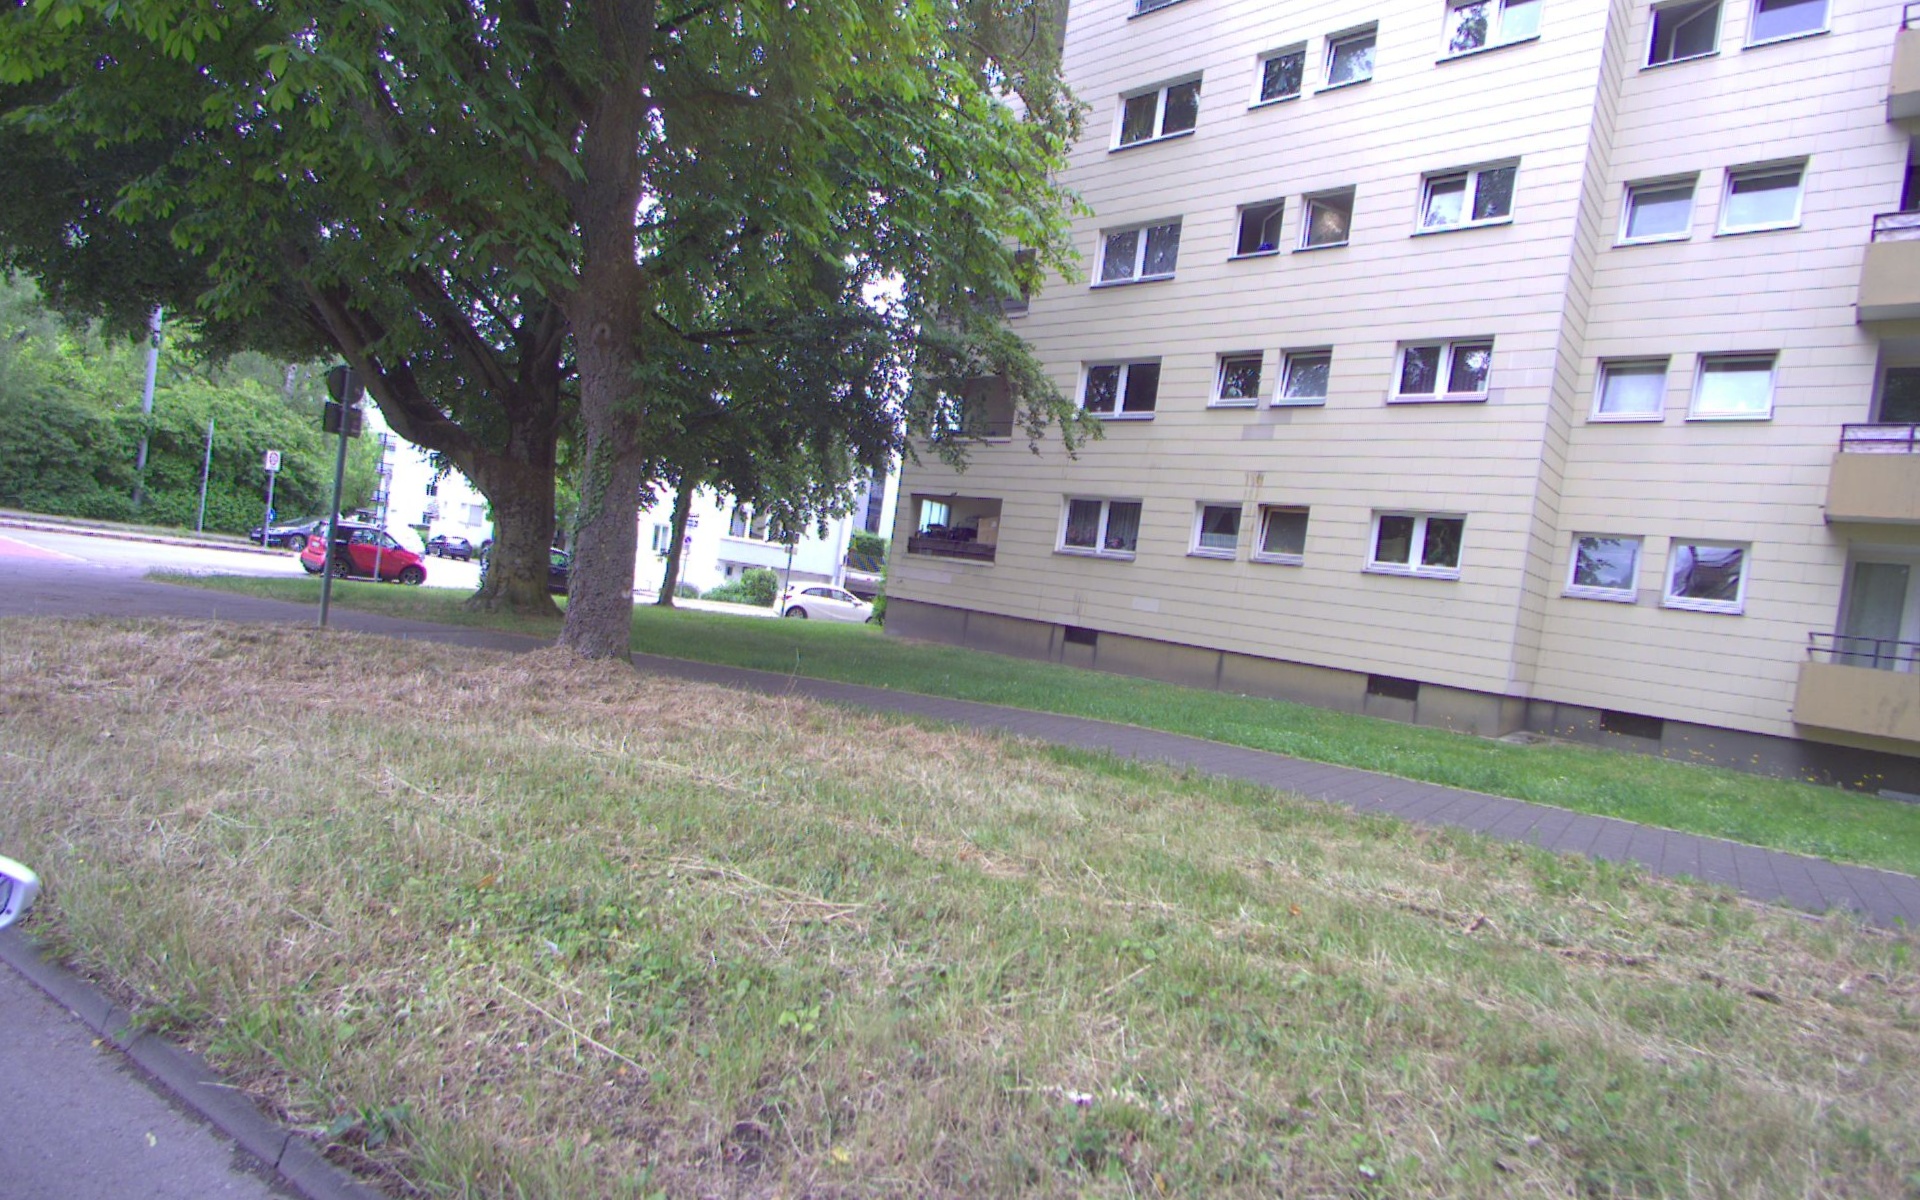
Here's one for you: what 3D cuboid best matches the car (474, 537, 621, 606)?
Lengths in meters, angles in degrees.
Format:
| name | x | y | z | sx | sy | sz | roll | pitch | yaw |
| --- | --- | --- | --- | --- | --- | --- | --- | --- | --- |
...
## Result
| name | x | y | z | sx | sy | sz | roll | pitch | yaw |
| --- | --- | --- | --- | --- | --- | --- | --- | --- | --- |
| car | -12.572 | -0.862 | 30.722 | 3.814 | 1.631 | 1.713 | 6 | 1 | -33 |

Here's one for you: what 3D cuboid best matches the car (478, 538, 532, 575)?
| name | x | y | z | sx | sy | sz | roll | pitch | yaw |
| --- | --- | --- | --- | --- | --- | --- | --- | --- | --- |
| car | -24.809 | -2.382 | 54.815 | 1.713 | 1.631 | 3.812 | 6 | 2 | -38 |

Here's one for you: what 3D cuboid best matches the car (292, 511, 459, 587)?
| name | x | y | z | sx | sy | sz | roll | pitch | yaw |
| --- | --- | --- | --- | --- | --- | --- | --- | --- | --- |
| car | -16.033 | -1.372 | 27.732 | 1.701 | 1.631 | 3.516 | 8 | 1 | 36 |

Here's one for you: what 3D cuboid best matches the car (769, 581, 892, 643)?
| name | x | y | z | sx | sy | sz | roll | pitch | yaw |
| --- | --- | --- | --- | --- | --- | --- | --- | --- | --- |
| car | -4.409 | 0.401 | 34.147 | 3.796 | 1.631 | 1.721 | 6 | 1 | -18 |

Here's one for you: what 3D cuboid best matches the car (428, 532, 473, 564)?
| name | x | y | z | sx | sy | sz | roll | pitch | yaw |
| --- | --- | --- | --- | --- | --- | --- | --- | --- | --- |
| car | -31.771 | -3.242 | 62.736 | 1.713 | 1.631 | 3.812 | 6 | 2 | -38 |

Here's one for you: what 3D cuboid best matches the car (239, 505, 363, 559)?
| name | x | y | z | sx | sy | sz | roll | pitch | yaw |
| --- | --- | --- | --- | --- | --- | --- | --- | --- | --- |
| car | -24.956 | -2.552 | 38.175 | 1.702 | 1.550 | 3.515 | 8 | 1 | 38 |

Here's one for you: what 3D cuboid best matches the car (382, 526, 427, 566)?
| name | x | y | z | sx | sy | sz | roll | pitch | yaw |
| --- | --- | --- | --- | --- | --- | --- | --- | --- | --- |
| car | -26.472 | -2.603 | 47.920 | 1.709 | 1.631 | 3.823 | 6 | 1 | -30 |
